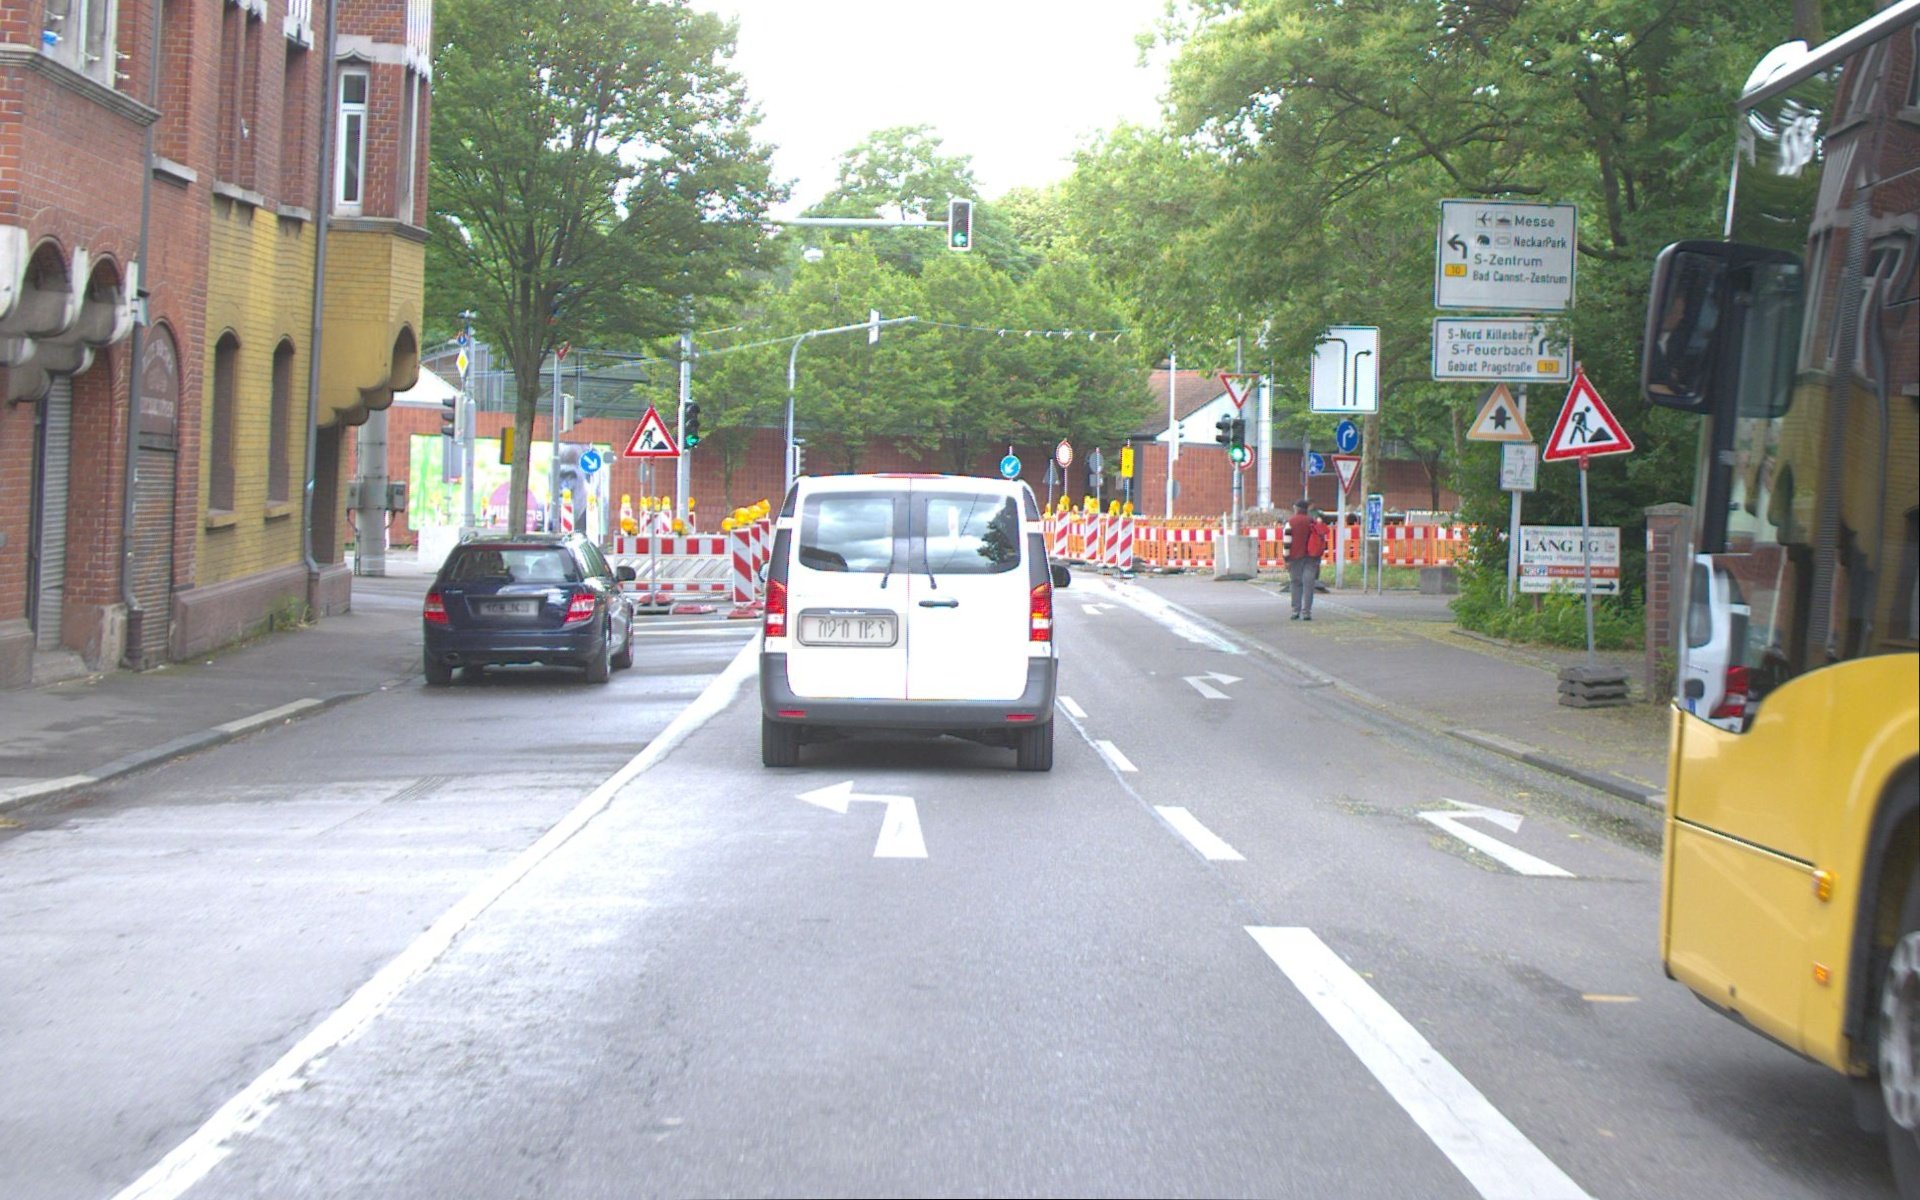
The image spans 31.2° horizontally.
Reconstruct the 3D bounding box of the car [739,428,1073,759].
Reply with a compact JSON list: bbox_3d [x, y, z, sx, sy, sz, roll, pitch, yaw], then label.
[{"bbox_3d":[-0.397,-0.024,23.316,1.917,1.895,4.701,4,-1,-2],"label":"car"}]

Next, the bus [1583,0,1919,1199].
[{"bbox_3d":[3.389,-0.014,5.969,2.671,3.127,9.218,3,1,-1],"label":"bus"}]

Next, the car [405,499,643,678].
[{"bbox_3d":[-4.249,-0.167,34.072,1.725,1.480,4.391,2,3,0],"label":"car"}]

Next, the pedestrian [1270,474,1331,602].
[{"bbox_3d":[4.943,-0.910,49.912,0.779,1.824,0.728,-1,2,0],"label":"pedestrian"}]

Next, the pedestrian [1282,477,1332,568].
[{"bbox_3d":[6.540,-1.473,64.825,0.730,1.691,0.838,-1,2,-9],"label":"pedestrian"}]

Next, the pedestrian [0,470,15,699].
[{"bbox_3d":[-7.052,-0.116,23.994,0.660,1.604,0.632,3,2,0],"label":"pedestrian"}]
